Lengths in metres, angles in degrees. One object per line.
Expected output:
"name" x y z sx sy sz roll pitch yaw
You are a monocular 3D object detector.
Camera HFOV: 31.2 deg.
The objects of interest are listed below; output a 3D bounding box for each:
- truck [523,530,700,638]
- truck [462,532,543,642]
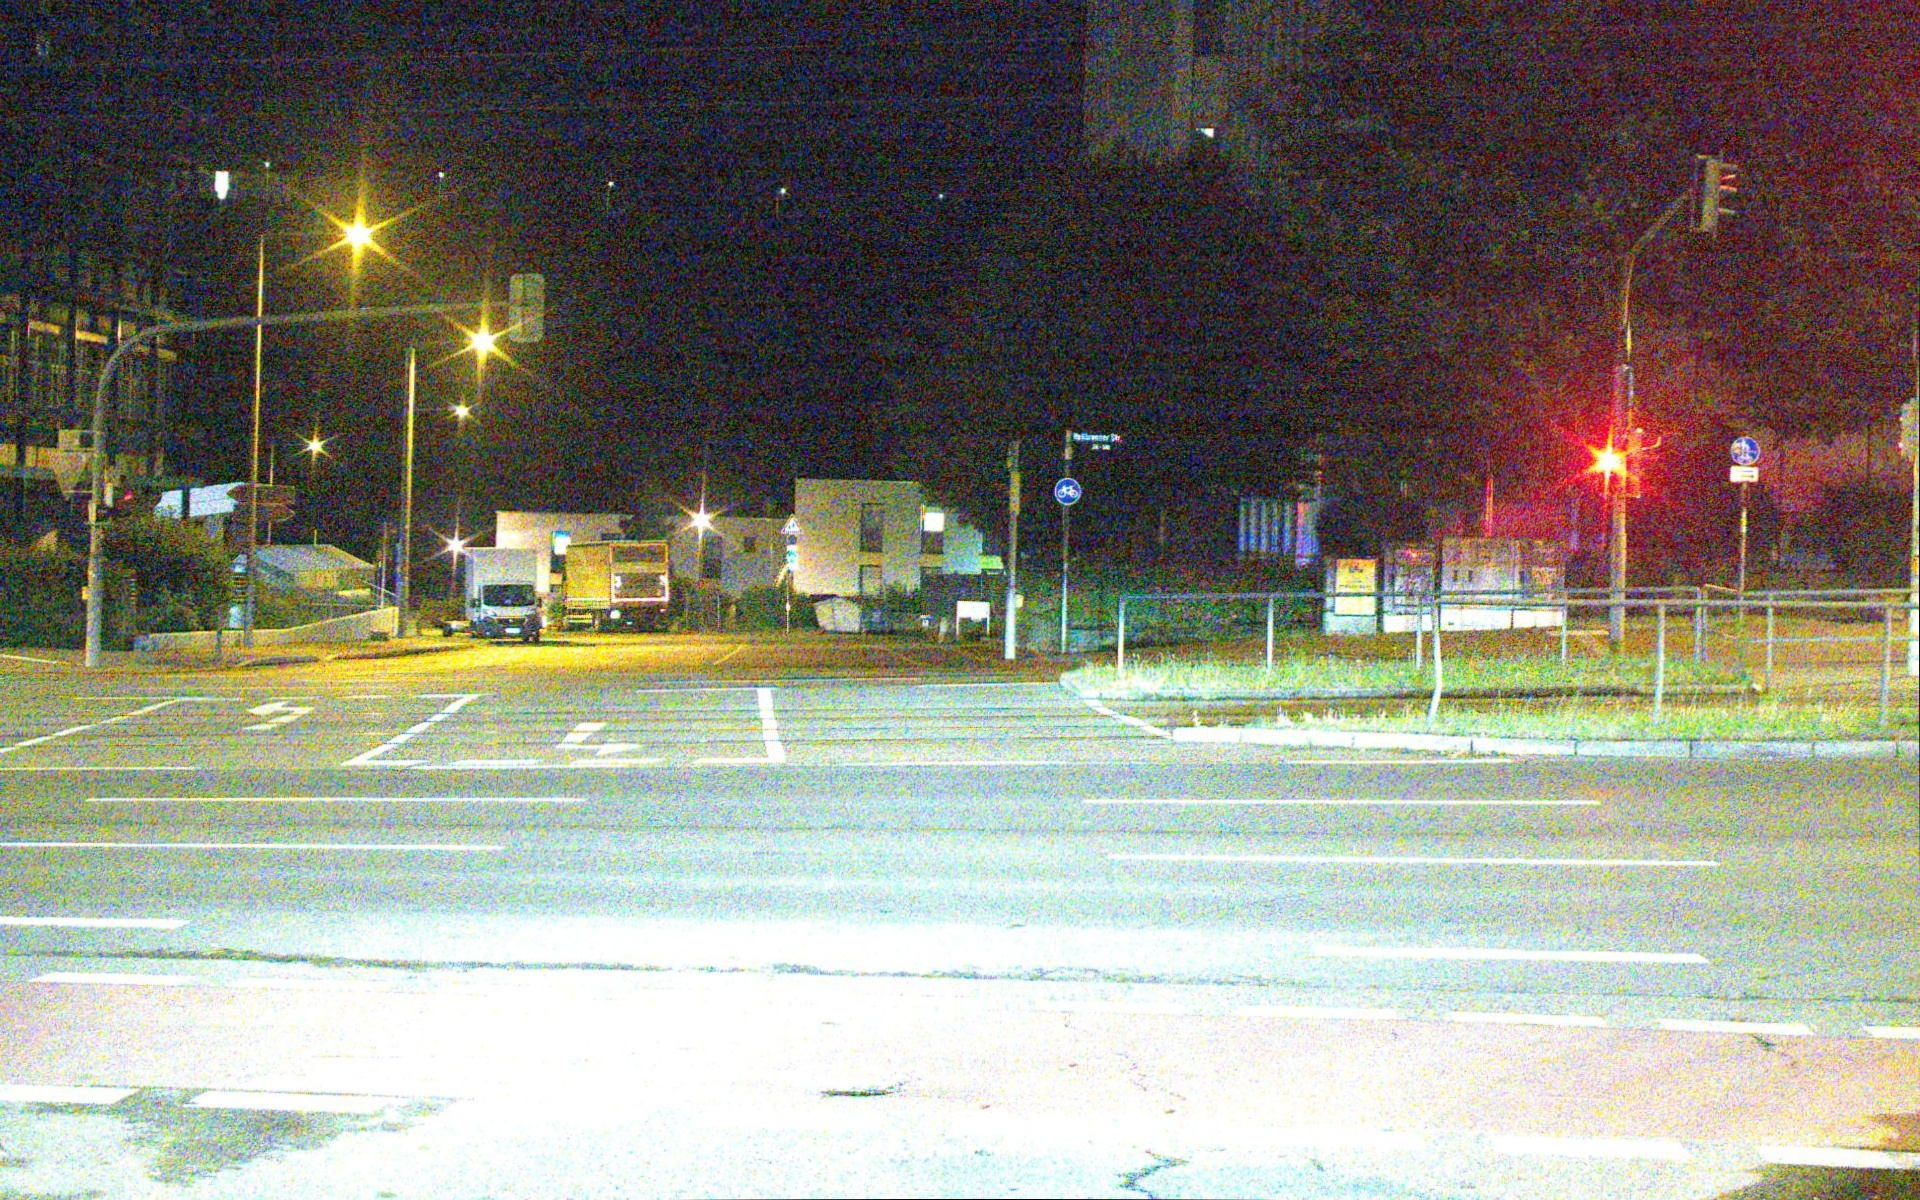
"truck" -15.462 -0.762 151.231 4.821 4.531 12.669 1 1 -19
"truck" -15.911 -0.471 119.399 2.582 3.694 5.739 1 1 -9
